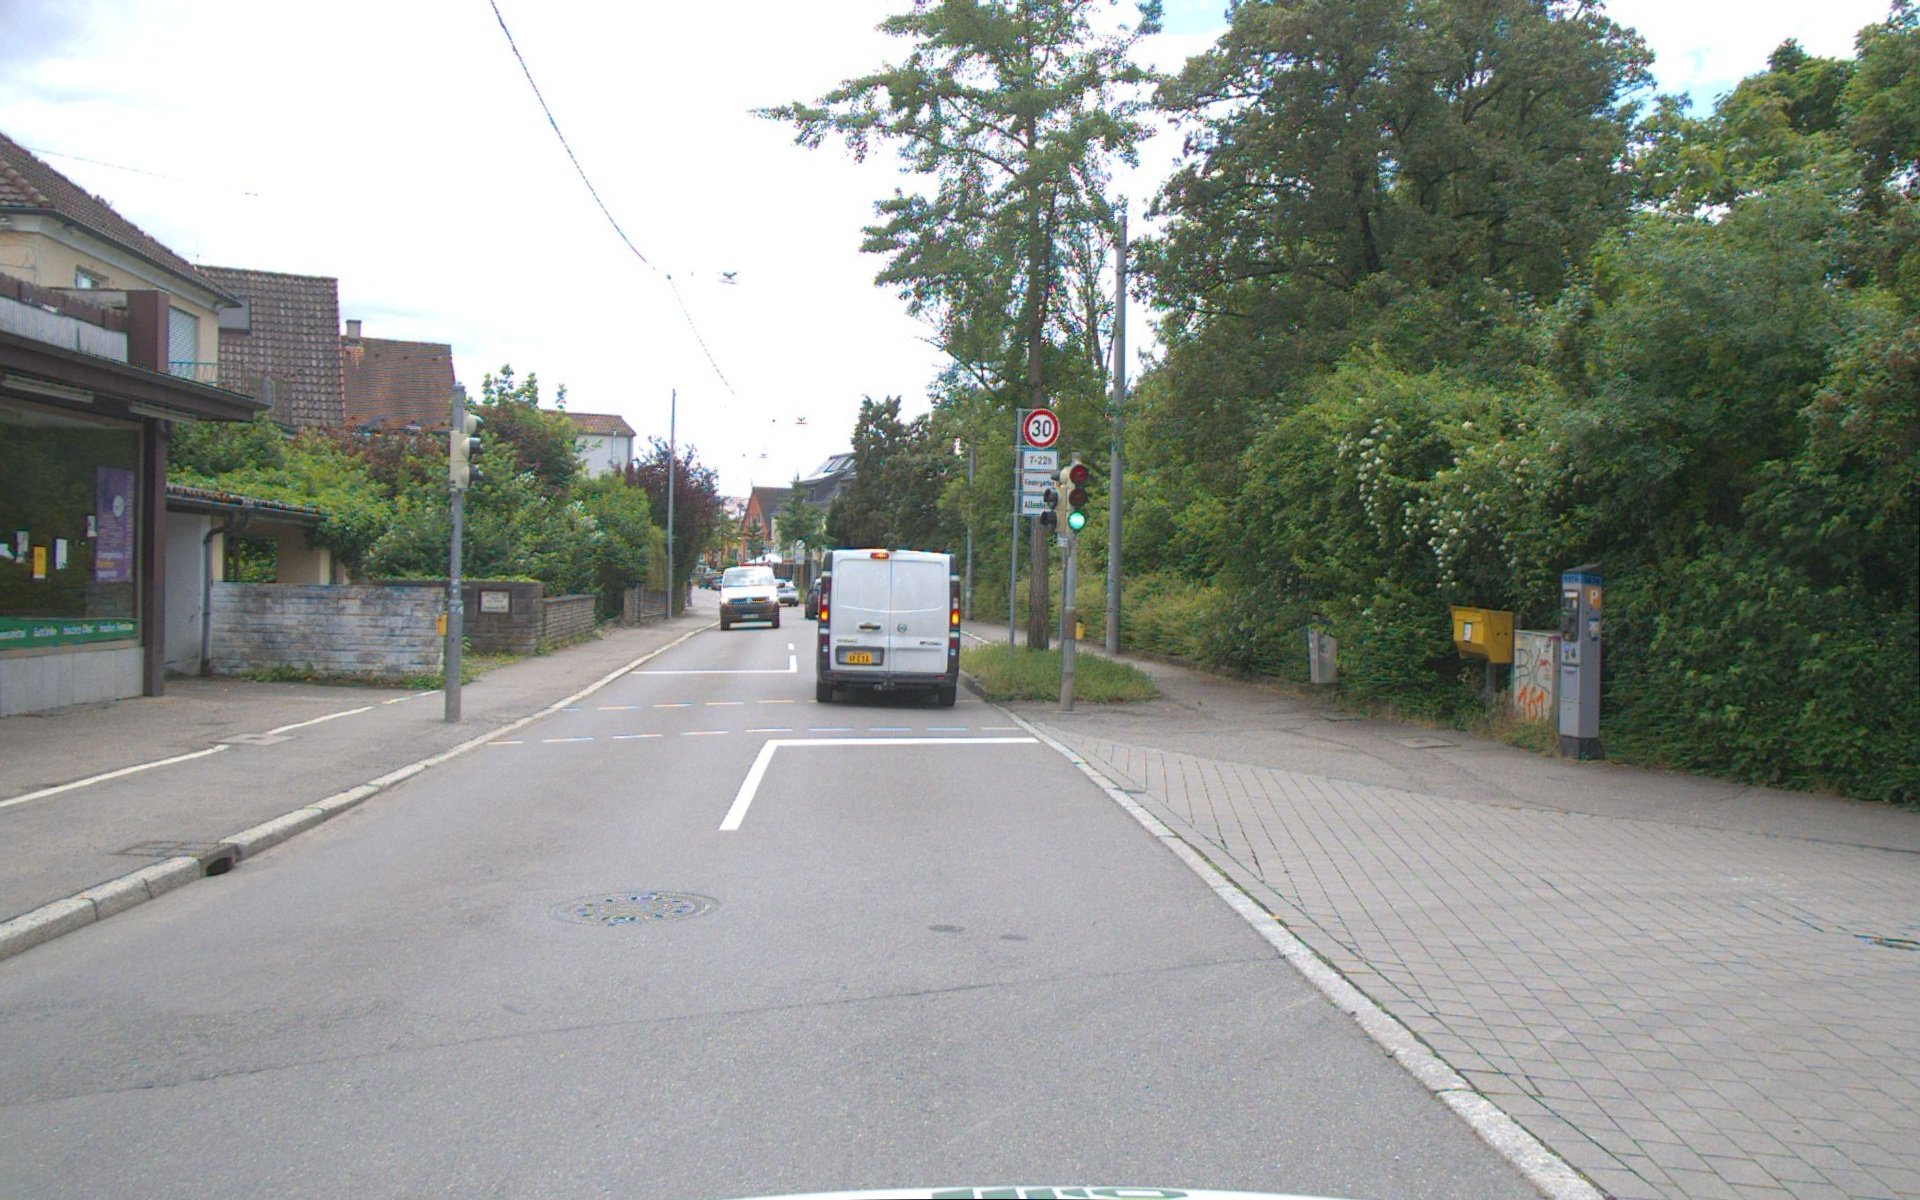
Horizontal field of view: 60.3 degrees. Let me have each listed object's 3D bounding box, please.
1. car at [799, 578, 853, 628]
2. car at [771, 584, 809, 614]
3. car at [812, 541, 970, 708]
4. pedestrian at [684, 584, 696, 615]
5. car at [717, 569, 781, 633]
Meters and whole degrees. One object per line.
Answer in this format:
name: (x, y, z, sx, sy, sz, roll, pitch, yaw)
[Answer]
car: (-5.420, 0.122, 67.423, 1.858, 1.892, 4.403, 2, 0, -1)
car: (-10.402, -0.056, 100.938, 1.794, 1.758, 3.987, 2, 0, -13)
car: (-1.036, 0.306, 22.619, 1.892, 1.998, 4.397, 2, 0, -5)
pedestrian: (-15.573, -0.036, 95.283, 0.410, 1.744, 0.452, 1, -1, 37)
car: (-6.727, -0.011, 53.153, 1.831, 1.944, 5.110, -1, 1, -5)
